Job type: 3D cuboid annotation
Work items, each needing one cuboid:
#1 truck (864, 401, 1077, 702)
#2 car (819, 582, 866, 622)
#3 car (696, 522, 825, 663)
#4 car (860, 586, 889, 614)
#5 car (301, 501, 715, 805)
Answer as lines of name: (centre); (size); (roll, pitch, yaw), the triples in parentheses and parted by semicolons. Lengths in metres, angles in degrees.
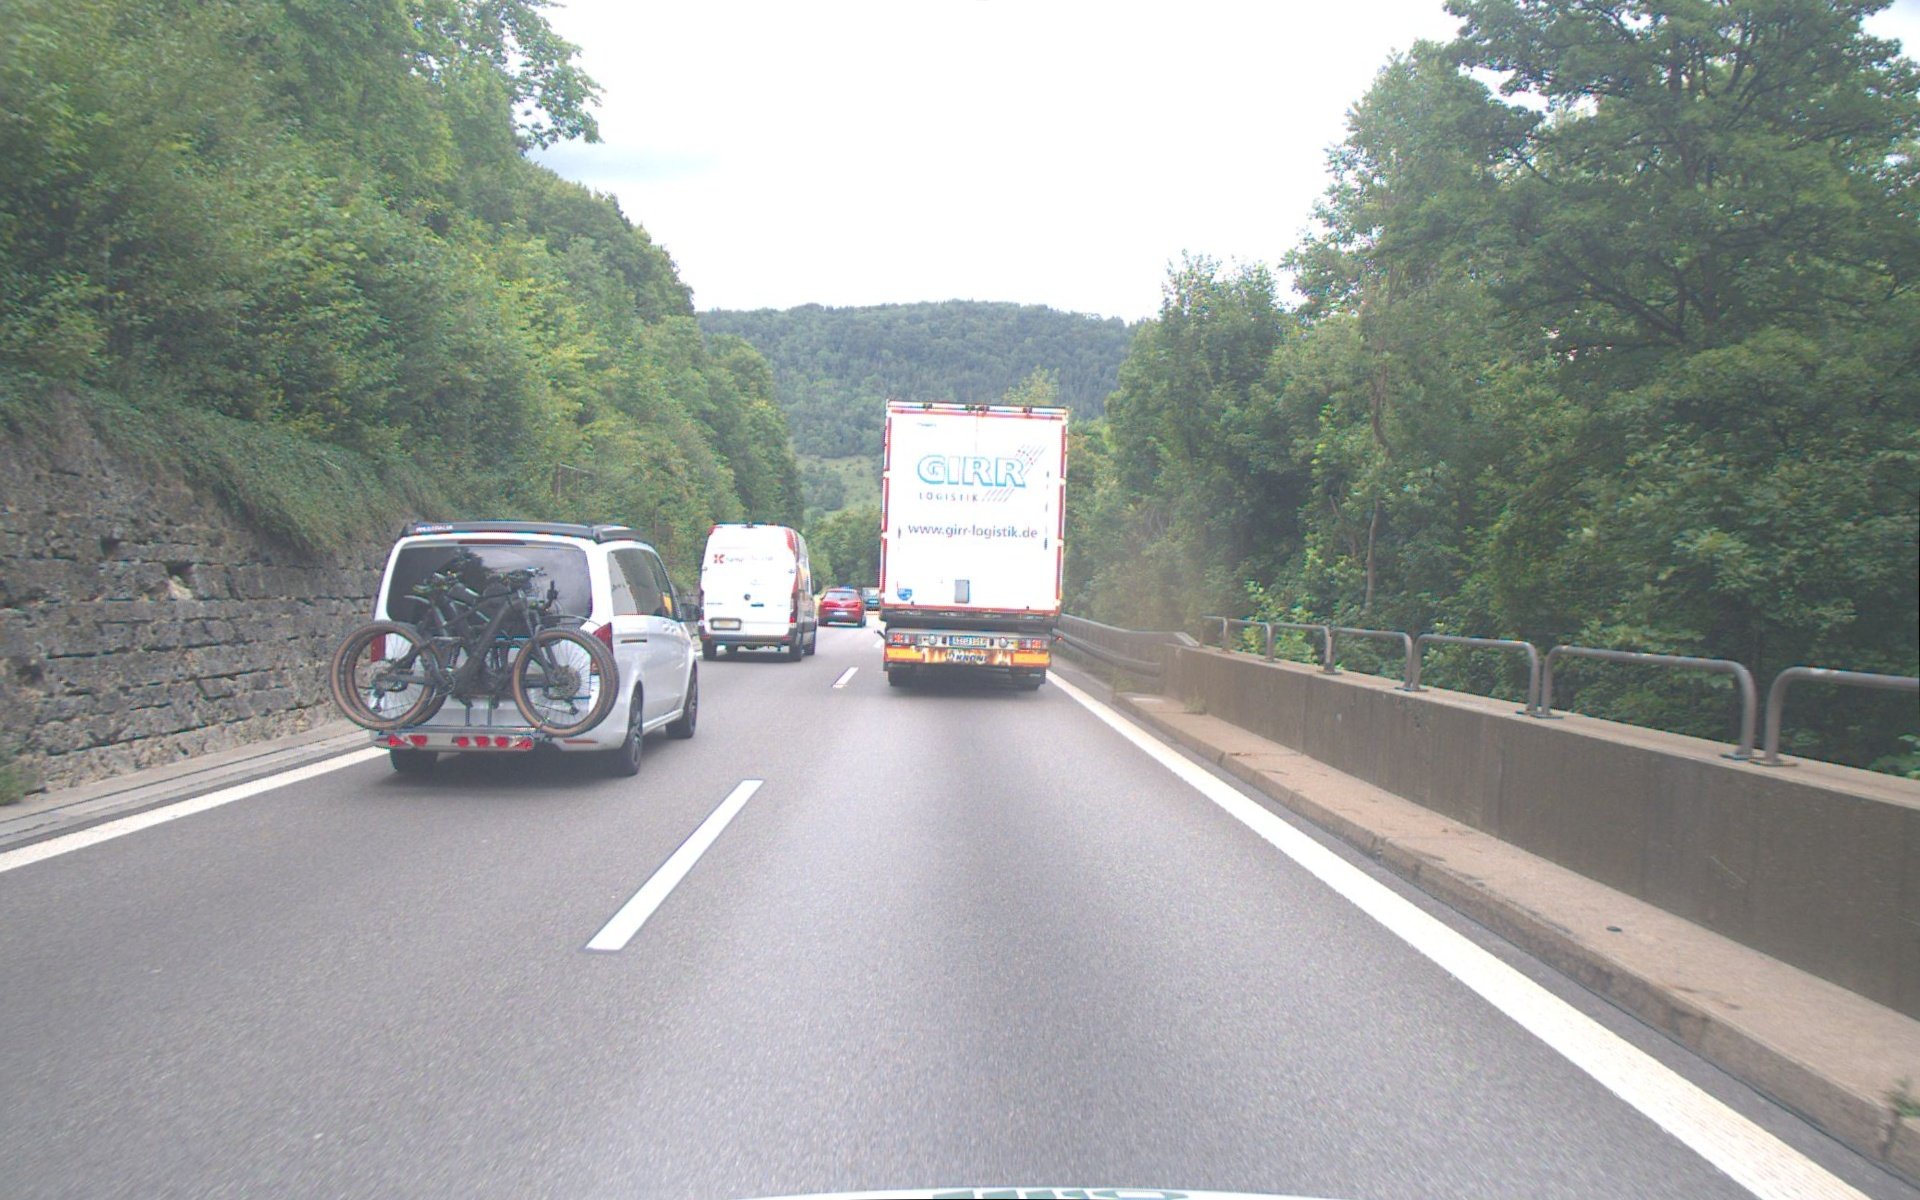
truck: (0.106, -0.675, 26.834); (2.849, 4.030, 9.277); (0, 0, 0)
car: (-4.557, 0.086, 63.848); (1.732, 1.485, 4.407); (0, 0, -5)
car: (-4.001, -0.146, 34.171); (1.985, 2.630, 6.273); (0, 0, -1)
car: (-5.233, 0.018, 101.644); (1.635, 1.667, 4.067); (0, 0, -1)
car: (-3.452, 0.328, 14.067); (1.953, 1.987, 6.146); (1, 0, -2)
